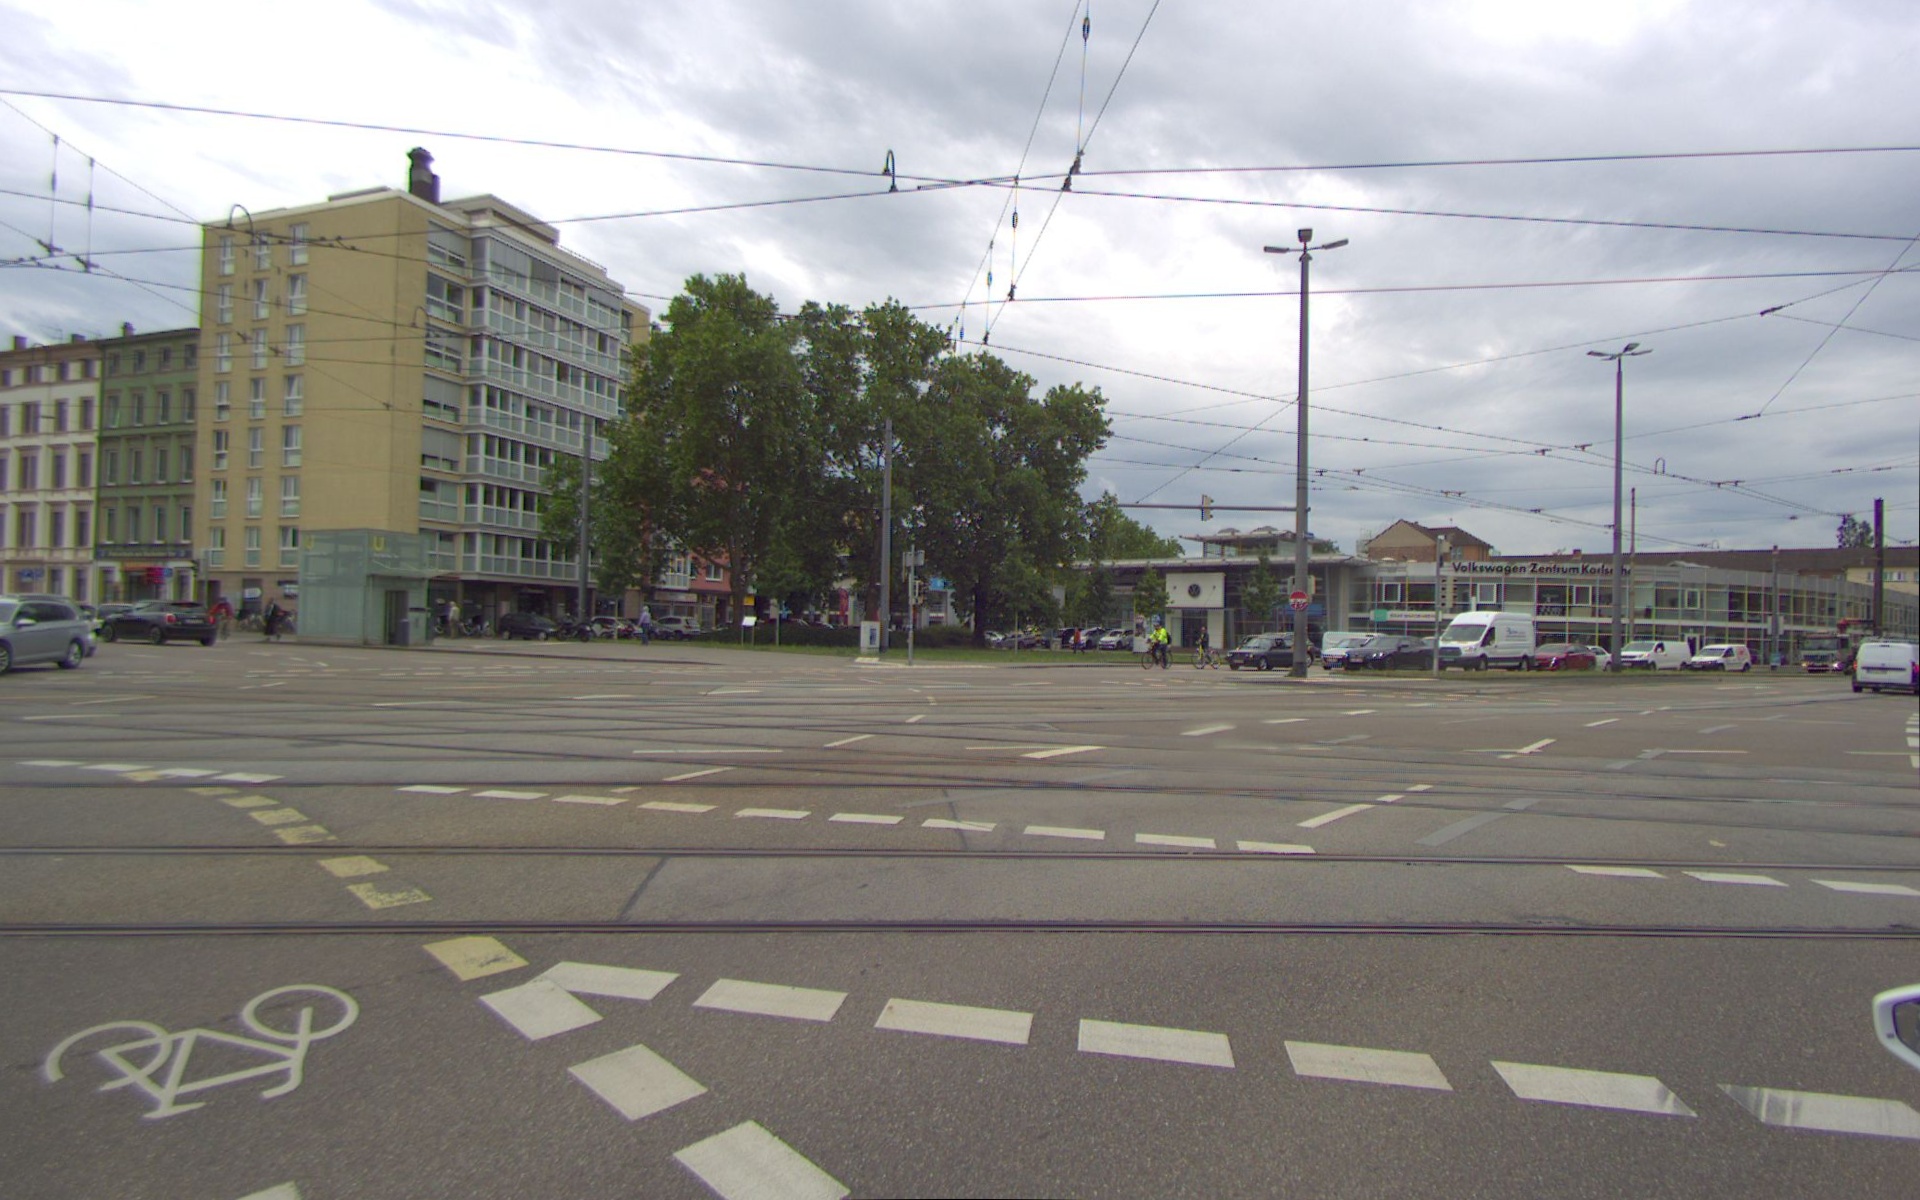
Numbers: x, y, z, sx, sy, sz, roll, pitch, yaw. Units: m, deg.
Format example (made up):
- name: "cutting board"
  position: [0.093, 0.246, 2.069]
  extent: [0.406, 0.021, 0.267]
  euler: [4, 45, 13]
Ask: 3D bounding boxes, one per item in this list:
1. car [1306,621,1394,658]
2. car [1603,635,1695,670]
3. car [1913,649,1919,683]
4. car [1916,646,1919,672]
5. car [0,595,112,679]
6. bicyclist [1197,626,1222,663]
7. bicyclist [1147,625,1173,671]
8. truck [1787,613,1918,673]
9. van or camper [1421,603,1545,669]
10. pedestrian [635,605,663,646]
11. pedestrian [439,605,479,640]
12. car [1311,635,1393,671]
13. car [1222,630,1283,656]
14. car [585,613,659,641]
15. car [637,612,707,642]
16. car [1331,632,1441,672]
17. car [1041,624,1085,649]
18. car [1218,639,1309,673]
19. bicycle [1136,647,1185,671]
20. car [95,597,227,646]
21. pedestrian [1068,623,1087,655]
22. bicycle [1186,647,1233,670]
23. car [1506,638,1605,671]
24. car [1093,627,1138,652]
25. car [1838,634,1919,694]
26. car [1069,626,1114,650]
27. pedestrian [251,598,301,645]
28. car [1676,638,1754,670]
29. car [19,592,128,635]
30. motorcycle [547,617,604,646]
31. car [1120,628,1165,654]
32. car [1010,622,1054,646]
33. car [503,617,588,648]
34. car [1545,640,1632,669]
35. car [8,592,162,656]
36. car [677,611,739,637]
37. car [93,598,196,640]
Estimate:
- name: "car"
  position: [24.236, 2.435, 62.546]
  extent: [2.101, 2.040, 4.732]
  euler: [3, -1, -36]
- name: "car"
  position: [40.032, 3.046, 58.352]
  extent: [5.379, 1.881, 2.148]
  euler: [2, -1, -28]
- name: "car"
  position: [42.684, 2.862, 42.987]
  extent: [3.959, 1.439, 1.981]
  euler: [3, -2, -34]
- name: "car"
  position: [71.846, 4.352, 72.982]
  extent: [4.462, 1.863, 1.988]
  euler: [2, -1, -25]
- name: "car"
  position: [-18.772, 0.663, 19.478]
  extent: [1.969, 1.513, 4.659]
  euler: [2, -1, -19]
- name: "bicyclist"
  position: [10.386, 1.839, 41.830]
  extent: [0.847, 1.528, 0.562]
  euler: [1, 0, -33]
- name: "bicyclist"
  position: [8.011, 1.927, 40.295]
  extent: [0.789, 1.827, 0.624]
  euler: [2, -1, -33]
- name: "truck"
  position: [60.325, 2.932, 67.874]
  extent: [9.090, 3.596, 2.789]
  euler: [3, -1, -22]
- name: "van or camper"
  position: [22.909, 1.595, 43.933]
  extent: [5.996, 2.645, 2.398]
  euler: [3, -1, -37]
- name: "pedestrian"
  position: [-13.737, 1.115, 44.368]
  extent: [0.897, 1.742, 0.707]
  euler: [2, -1, 9]
- name: "pedestrian"
  position: [-24.310, 1.095, 48.765]
  extent: [1.305, 1.661, 1.041]
  euler: [1, -1, 17]
- name: "car"
  position: [16.981, 2.276, 43.431]
  extent: [3.704, 1.439, 1.623]
  euler: [3, -2, -37]
- name: "car"
  position: [17.984, 2.647, 61.704]
  extent: [3.700, 1.439, 1.625]
  euler: [3, -1, -34]
- name: "car"
  position: [-21.002, 1.680, 62.510]
  extent: [3.920, 1.572, 2.001]
  euler: [1, -1, 17]
- name: "car"
  position: [-19.140, 1.783, 66.761]
  extent: [3.920, 1.728, 2.001]
  euler: [2, -1, 17]
- name: "car"
  position: [16.824, 2.031, 39.563]
  extent: [4.620, 1.439, 1.979]
  euler: [3, -2, -37]
- name: "car"
  position: [9.307, 3.291, 90.497]
  extent: [1.971, 2.040, 3.980]
  euler: [2, -1, 41]
- name: "car"
  position: [12.252, 2.241, 40.537]
  extent: [3.704, 1.263, 1.674]
  euler: [3, -2, -37]
- name: "bicycle"
  position: [8.063, 2.371, 40.325]
  extent: [2.199, 0.942, 0.515]
  euler: [2, -1, -33]
- name: "car"
  position: [-26.295, 0.707, 33.049]
  extent: [3.924, 1.488, 1.774]
  euler: [1, -1, 24]
- name: "pedestrian"
  position: [7.320, 2.407, 62.619]
  extent: [0.850, 1.925, 0.705]
  euler: [3, -1, -23]
- name: "bicycle"
  position: [10.405, 2.440, 41.830]
  extent: [2.199, 0.938, 0.515]
  euler: [2, -1, -33]
- name: "car"
  position: [28.381, 2.618, 47.845]
  extent: [4.745, 1.439, 1.984]
  euler: [2, -1, -30]
- name: "car"
  position: [13.569, 3.415, 87.309]
  extent: [1.971, 2.040, 3.980]
  euler: [2, -1, 41]
- name: "car"
  position: [33.065, 2.247, 35.611]
  extent: [4.088, 1.966, 1.901]
  euler: [2, -1, -33]
- name: "car"
  position: [11.650, 3.381, 88.898]
  extent: [1.971, 2.040, 3.980]
  euler: [2, -1, 41]
- name: "pedestrian"
  position: [-26.693, 0.847, 39.225]
  extent: [1.020, 1.808, 1.181]
  euler: [1, -1, 16]
- name: "car"
  position: [46.400, 3.319, 61.699]
  extent: [4.462, 1.863, 1.988]
  euler: [2, -1, -25]
- name: "car"
  position: [-40.672, 0.608, 46.213]
  extent: [2.046, 1.778, 3.990]
  euler: [3, -1, -13]
- name: "motorcycle"
  position: [-17.745, 1.437, 46.378]
  extent: [2.498, 1.194, 0.864]
  euler: [2, -1, 21]
- name: "car"
  position: [15.516, 3.475, 85.261]
  extent: [1.971, 2.040, 3.980]
  euler: [2, -1, 41]
- name: "car"
  position: [6.652, 3.132, 92.855]
  extent: [1.971, 2.040, 3.980]
  euler: [2, -1, 41]
- name: "car"
  position: [-22.813, 1.763, 55.285]
  extent: [3.920, 1.572, 2.001]
  euler: [1, -1, 17]
- name: "car"
  position: [34.661, 2.995, 55.351]
  extent: [4.691, 1.439, 1.986]
  euler: [2, -1, -28]
- name: "car"
  position: [-23.089, 0.616, 26.503]
  extent: [3.556, 1.513, 1.997]
  euler: [1, -1, 30]
- name: "car"
  position: [-18.707, 1.765, 74.510]
  extent: [3.920, 1.728, 2.001]
  euler: [2, -1, 17]
- name: "car"
  position: [-37.567, 0.856, 46.415]
  extent: [2.046, 1.778, 3.990]
  euler: [3, -1, -13]
